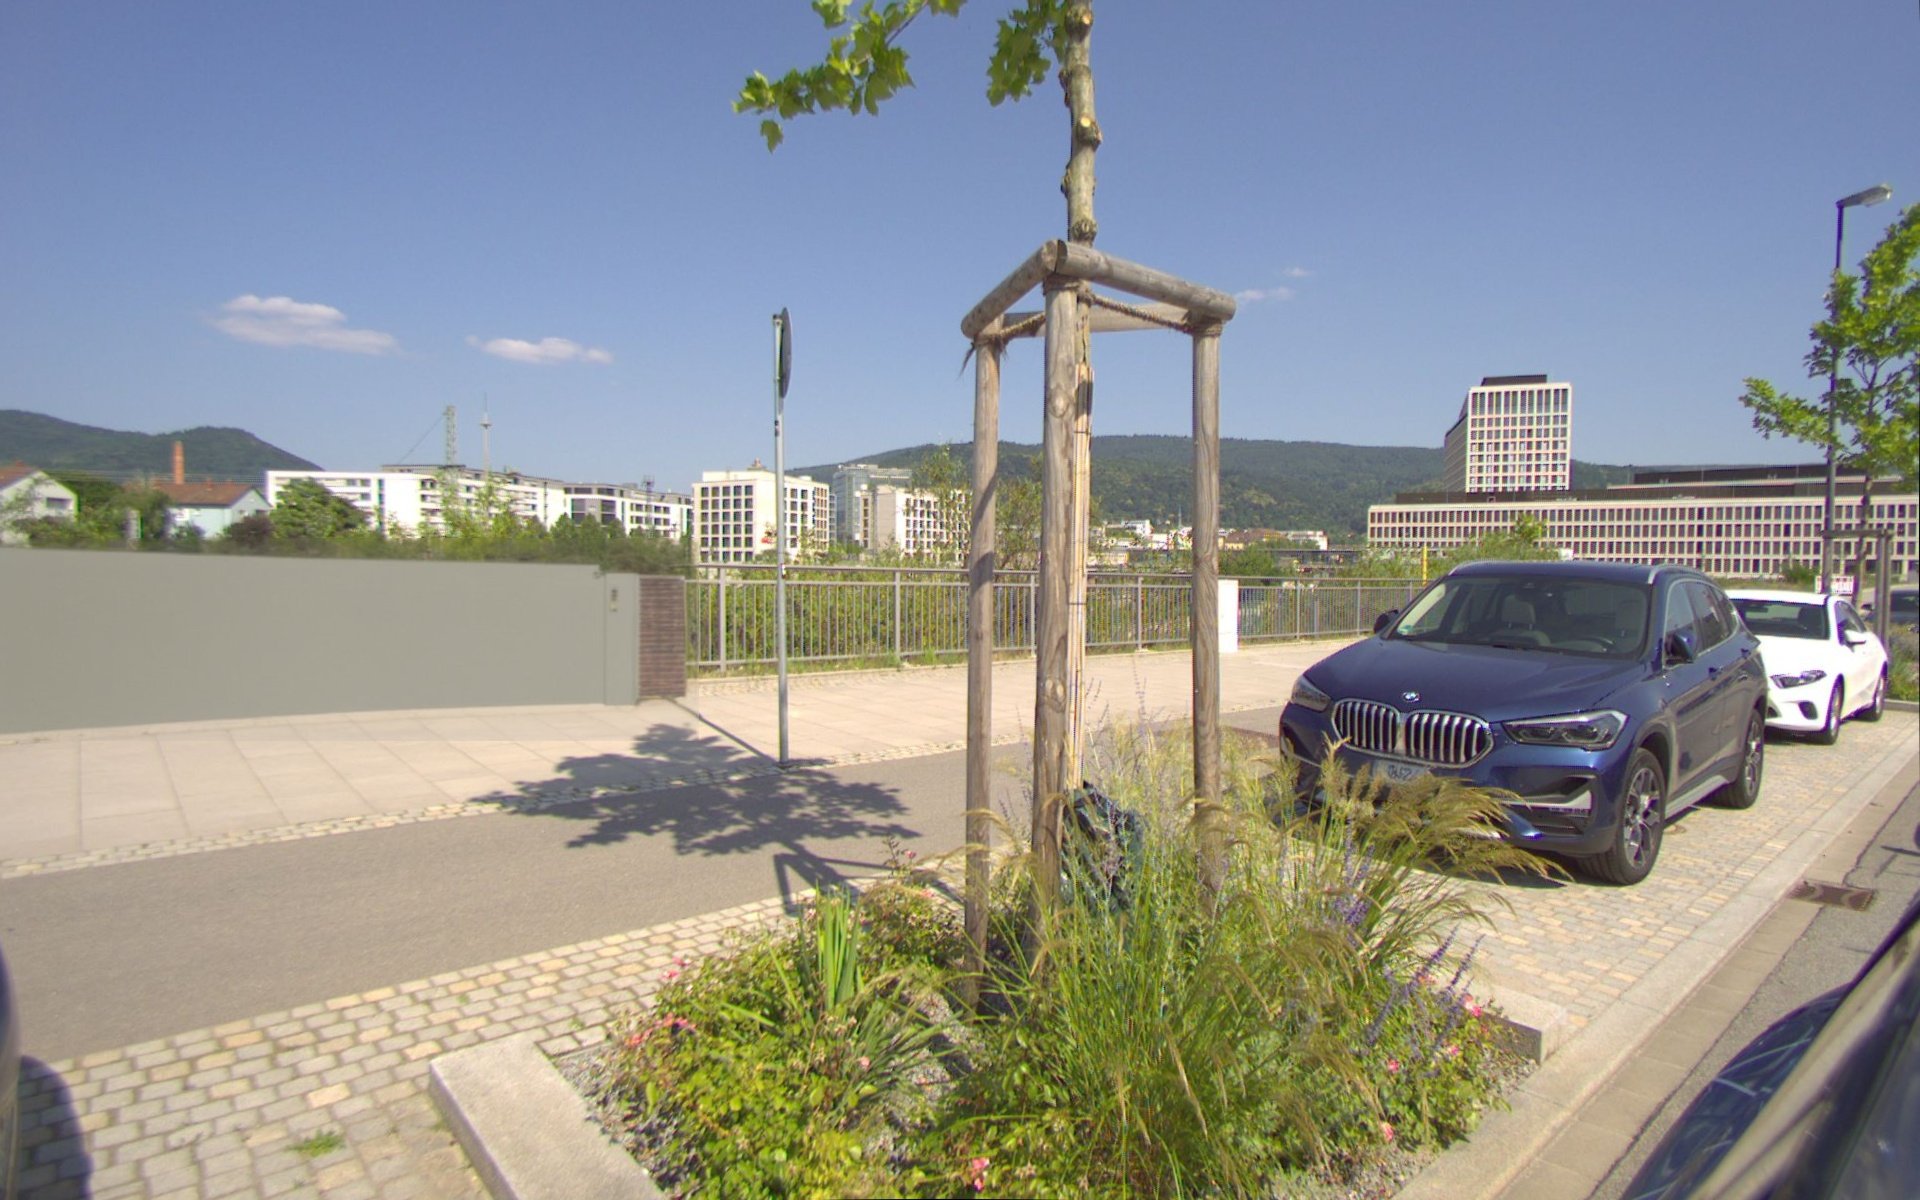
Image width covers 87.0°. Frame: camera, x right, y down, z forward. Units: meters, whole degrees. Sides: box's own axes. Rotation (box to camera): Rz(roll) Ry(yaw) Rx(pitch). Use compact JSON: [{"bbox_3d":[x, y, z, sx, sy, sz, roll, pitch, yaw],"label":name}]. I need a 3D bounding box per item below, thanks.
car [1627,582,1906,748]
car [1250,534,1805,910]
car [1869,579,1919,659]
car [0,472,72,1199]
[{"bbox_3d":[8.757,0.550,10.873,3.930,1.473,1.663,-1,0,-41],"label":"car"},{"bbox_3d":[3.789,0.503,6.420,4.164,1.627,1.768,-1,0,-41],"label":"car"},{"bbox_3d":[20.338,0.352,21.047,3.930,1.558,1.663,-1,0,-41],"label":"car"},{"bbox_3d":[-2.979,0.554,0.385,3.930,1.443,1.664,-1,4,-41],"label":"car"}]
